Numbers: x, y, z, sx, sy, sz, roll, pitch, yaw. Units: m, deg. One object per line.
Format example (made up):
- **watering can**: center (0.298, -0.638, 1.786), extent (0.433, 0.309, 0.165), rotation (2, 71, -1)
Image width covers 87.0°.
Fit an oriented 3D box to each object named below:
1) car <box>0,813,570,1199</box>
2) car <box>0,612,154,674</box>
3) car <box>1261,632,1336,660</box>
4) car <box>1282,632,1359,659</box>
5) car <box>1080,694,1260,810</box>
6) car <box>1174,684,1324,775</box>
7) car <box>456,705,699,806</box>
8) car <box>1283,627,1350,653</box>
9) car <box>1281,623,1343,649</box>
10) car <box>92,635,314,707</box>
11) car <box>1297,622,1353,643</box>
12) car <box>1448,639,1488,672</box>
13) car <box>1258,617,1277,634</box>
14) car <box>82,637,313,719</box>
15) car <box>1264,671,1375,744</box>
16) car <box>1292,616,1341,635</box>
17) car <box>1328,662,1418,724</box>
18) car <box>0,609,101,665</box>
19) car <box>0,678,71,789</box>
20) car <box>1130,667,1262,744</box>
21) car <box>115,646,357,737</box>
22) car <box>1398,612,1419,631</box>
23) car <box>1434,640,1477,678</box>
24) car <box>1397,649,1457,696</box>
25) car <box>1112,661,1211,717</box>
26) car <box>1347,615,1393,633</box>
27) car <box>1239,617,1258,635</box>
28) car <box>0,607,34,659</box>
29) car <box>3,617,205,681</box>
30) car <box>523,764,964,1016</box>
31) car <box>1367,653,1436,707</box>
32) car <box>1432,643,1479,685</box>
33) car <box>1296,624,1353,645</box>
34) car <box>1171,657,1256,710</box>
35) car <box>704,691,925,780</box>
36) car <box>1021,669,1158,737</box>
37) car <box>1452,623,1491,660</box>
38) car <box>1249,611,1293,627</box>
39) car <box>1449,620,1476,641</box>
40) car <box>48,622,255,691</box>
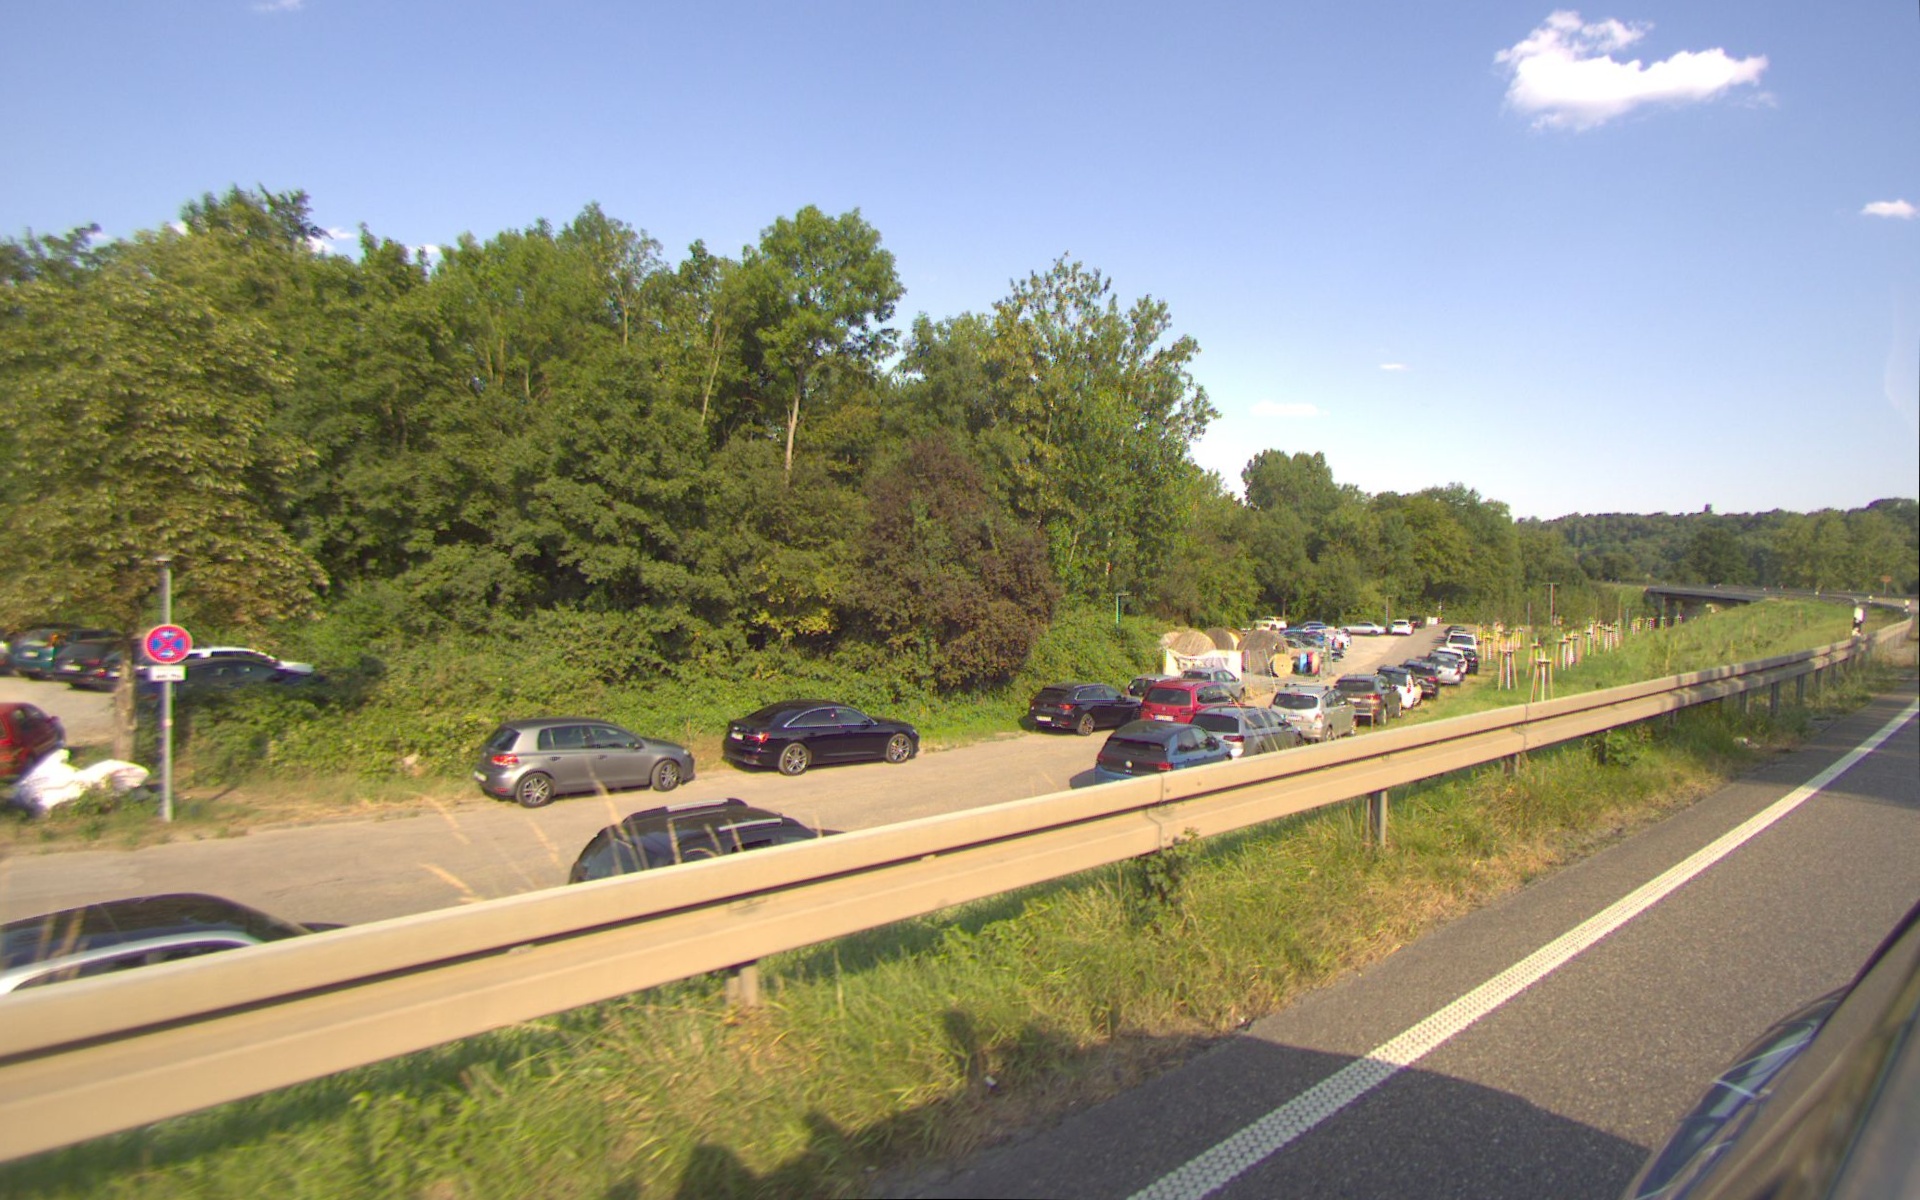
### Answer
- **car**: center (-5.806, 2.968, 7.955), extent (1.894, 1.578, 4.704), rotation (6, 3, 45)
- **car**: center (-28.741, 1.311, 32.221), extent (1.782, 1.712, 4.563), rotation (1, 1, 22)
- **car**: center (20.982, 2.844, 62.832), extent (4.207, 1.508, 1.816), rotation (0, 1, 28)
- **car**: center (23.004, 2.892, 64.657), extent (4.231, 1.509, 1.805), rotation (1, -1, 43)
- **car**: center (4.509, 3.039, 21.164), extent (1.887, 1.578, 4.721), rotation (5, 2, 35)
- **car**: center (7.284, 3.106, 25.191), extent (1.889, 1.578, 4.716), rotation (5, 2, 38)
- **car**: center (-7.313, 2.907, 19.480), extent (4.021, 1.416, 1.708), rotation (3, 2, -35)
- **car**: center (24.720, 2.740, 70.240), extent (4.205, 1.624, 1.817), rotation (0, 1, 27)
- **car**: center (25.664, 2.585, 73.737), extent (4.197, 1.764, 1.820), rotation (0, 0, 22)
- **car**: center (-21.290, 1.931, 28.729), extent (1.877, 1.579, 4.745), rotation (2, 1, 23)
- **car**: center (29.298, 2.593, 81.199), extent (4.195, 1.474, 1.606), rotation (0, 1, 21)
- **car**: center (29.725, 3.194, 59.253), extent (1.880, 1.500, 4.738), rotation (5, 2, 26)
- **car**: center (28.661, 2.353, 94.399), extent (1.478, 1.474, 3.657), rotation (2, 1, 16)
- **car**: center (-19.878, 1.957, 26.624), extent (1.787, 1.712, 4.552), rotation (1, 1, 28)
- **car**: center (10.767, 3.103, 30.109), extent (1.886, 1.579, 4.721), rotation (2, 1, 35)
- **car**: center (32.459, 2.311, 92.154), extent (4.196, 1.474, 1.606), rotation (2, 1, 21)
- **car**: center (14.129, 3.093, 34.427), extent (1.885, 1.579, 4.723), rotation (2, 1, 34)
- **car**: center (-31.514, 1.228, 33.375), extent (1.782, 1.712, 4.563), rotation (1, 1, 22)
- **car**: center (-17.903, 2.426, 18.729), extent (1.622, 1.562, 3.779), rotation (0, 1, -33)
- **car**: center (7.045, 3.020, 29.827), extent (1.888, 1.708, 5.018), rotation (3, 1, 37)
- **car**: center (-17.585, 2.137, 24.855), extent (1.787, 1.712, 4.552), rotation (1, 1, 28)
- **car**: center (46.566, 2.191, 105.066), extent (1.644, 1.687, 4.664), rotation (1, 2, 27)
- **car**: center (26.586, 3.101, 54.247), extent (1.880, 1.578, 4.738), rotation (5, 2, 26)
- **car**: center (20.447, 3.120, 44.203), extent (1.883, 1.578, 4.732), rotation (5, 2, 30)
- **car**: center (7.040, 3.041, 35.090), extent (1.699, 1.415, 3.890), rotation (5, 4, 39)
- **car**: center (41.133, 2.389, 101.561), extent (4.207, 1.474, 1.602), rotation (3, 1, 27)
- **car**: center (26.330, 2.349, 92.469), extent (1.595, 1.474, 4.226), rotation (2, 1, 15)
- **car**: center (-34.328, 1.161, 33.930), extent (1.782, 1.712, 4.563), rotation (1, 1, 22)
- **car**: center (-26.673, 1.461, 31.755), extent (1.782, 1.712, 4.563), rotation (1, 1, 22)
- **car**: center (-2.314, 3.094, 11.811), extent (1.894, 1.578, 4.704), rotation (6, 3, 45)
- **car**: center (17.374, 3.062, 39.696), extent (1.883, 1.578, 4.732), rotation (5, 2, 30)
- **car**: center (24.187, 3.062, 49.379), extent (1.880, 1.578, 4.738), rotation (5, 2, 26)
- **car**: center (28.379, 2.638, 78.794), extent (4.197, 1.517, 1.759), rotation (0, 0, 22)
- **car**: center (9.585, 3.091, 38.075), extent (1.697, 1.528, 3.893), rotation (2, 2, 37)
- **car**: center (-3.240, 2.997, 23.070), extent (4.693, 1.415, 1.708), rotation (1, 3, -35)
- **car**: center (3.998, 3.045, 30.689), extent (1.701, 1.415, 4.712), rotation (5, 4, 42)
- **car**: center (33.867, 2.672, 67.085), extent (2.106, 2.042, 5.329), rotation (5, 2, 26)
- **car**: center (33.556, 2.040, 109.312), extent (4.216, 1.474, 1.693), rotation (2, 0, 33)
- **car**: center (46.198, 2.798, 93.128), extent (1.803, 1.679, 4.224), rotation (3, 1, 23)
- **car**: center (-23.914, 1.597, 30.152), extent (1.782, 1.712, 4.563), rotation (1, 1, 22)
